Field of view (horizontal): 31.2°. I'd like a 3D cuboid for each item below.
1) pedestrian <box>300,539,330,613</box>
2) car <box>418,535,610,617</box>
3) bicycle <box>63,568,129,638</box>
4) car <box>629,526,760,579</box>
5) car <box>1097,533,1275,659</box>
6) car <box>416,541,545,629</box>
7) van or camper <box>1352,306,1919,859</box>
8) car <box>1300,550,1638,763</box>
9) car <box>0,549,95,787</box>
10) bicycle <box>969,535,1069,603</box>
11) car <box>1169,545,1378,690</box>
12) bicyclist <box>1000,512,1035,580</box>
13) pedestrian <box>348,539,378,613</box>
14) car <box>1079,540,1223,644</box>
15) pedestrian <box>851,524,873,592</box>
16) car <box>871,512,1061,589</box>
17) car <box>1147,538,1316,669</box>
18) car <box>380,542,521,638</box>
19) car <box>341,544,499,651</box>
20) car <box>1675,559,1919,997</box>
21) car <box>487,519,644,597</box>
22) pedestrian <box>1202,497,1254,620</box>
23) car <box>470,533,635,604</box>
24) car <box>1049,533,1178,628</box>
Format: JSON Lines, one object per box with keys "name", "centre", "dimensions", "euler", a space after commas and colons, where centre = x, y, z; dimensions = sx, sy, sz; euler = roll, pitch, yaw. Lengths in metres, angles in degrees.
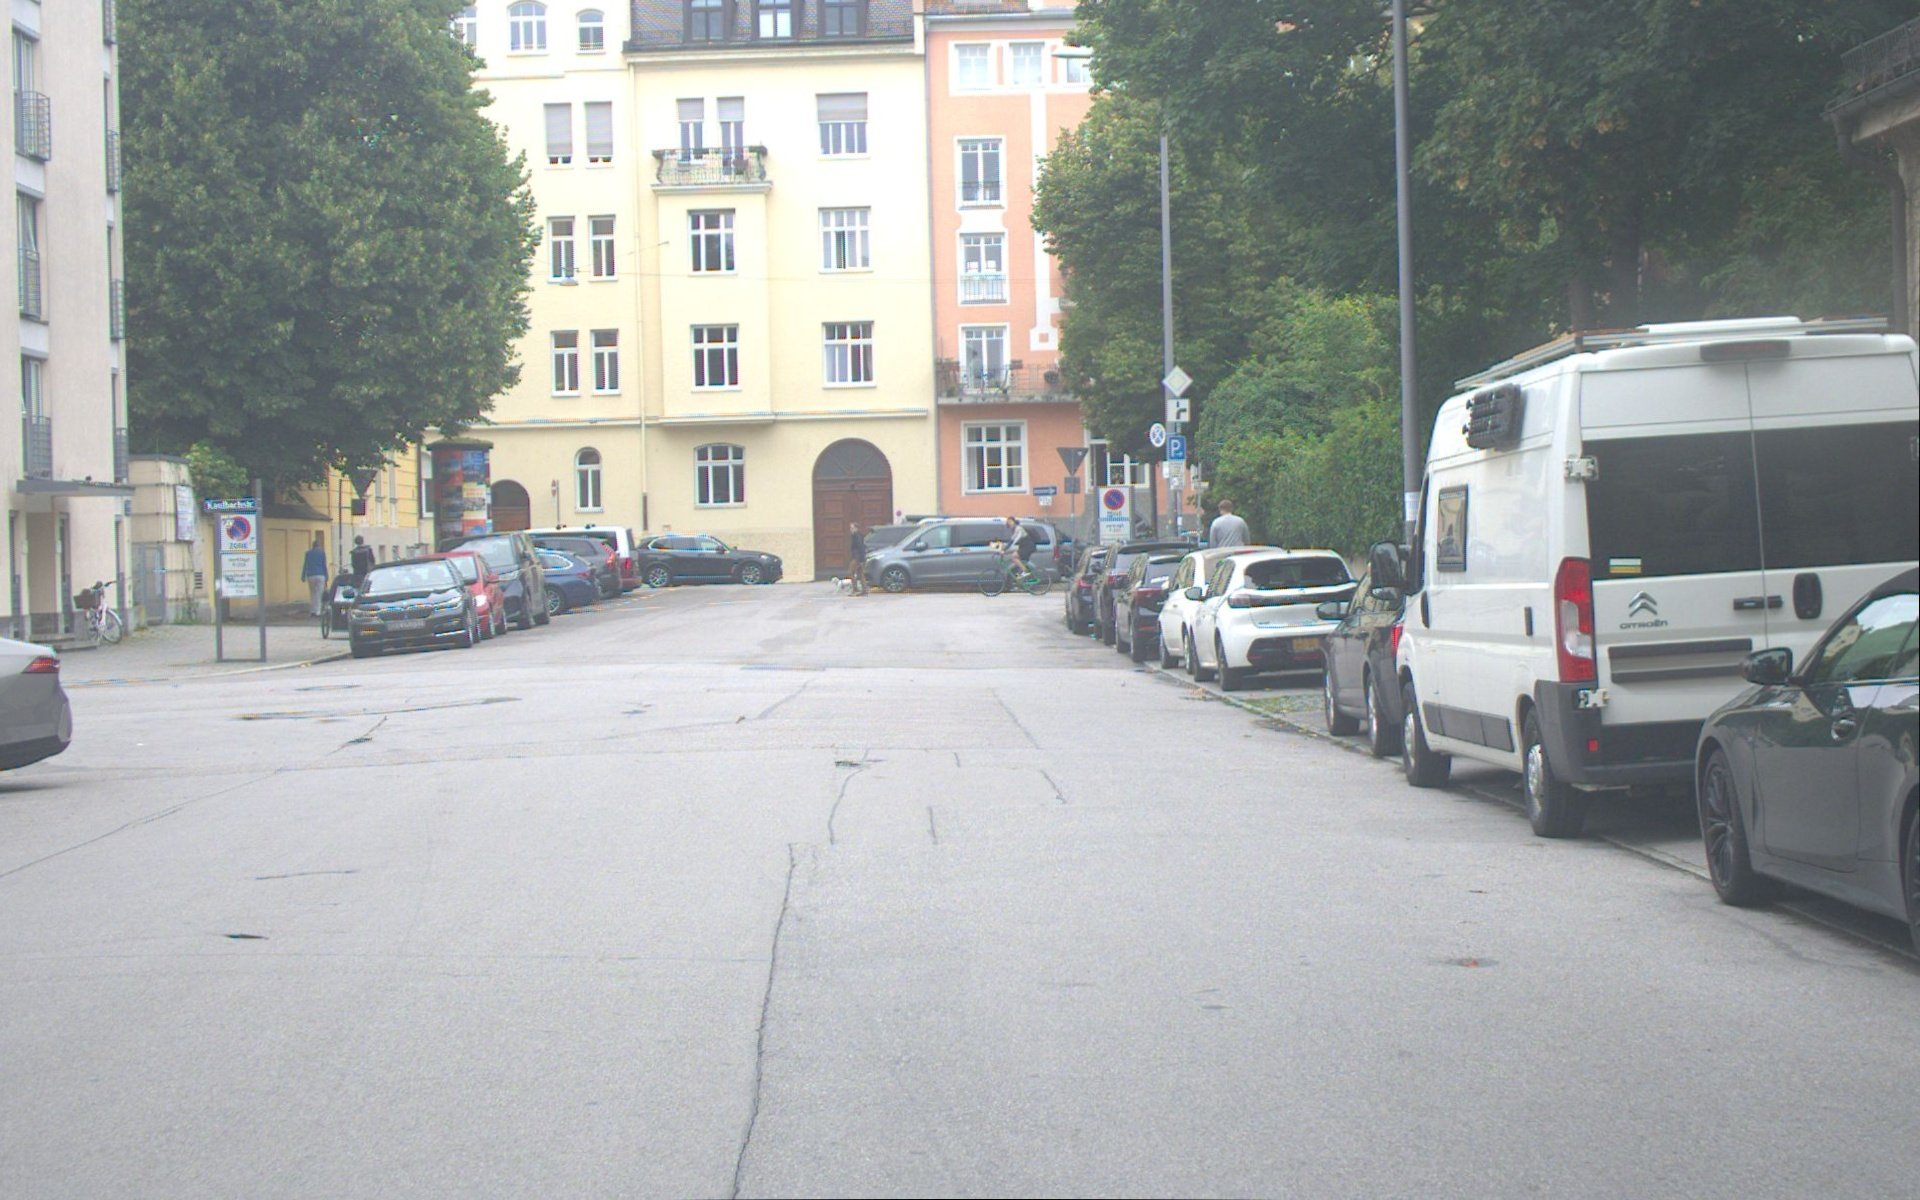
{"name": "pedestrian", "centre": [-14.566, -0.540, 77.628], "dimensions": [0.571, 1.651, 0.465], "euler": [-1, 1, 0]}
{"name": "car", "centre": [-9.994, -0.551, 77.238], "dimensions": [3.987, 1.503, 1.840], "euler": [-4, 1, -1]}
{"name": "bicycle", "centre": [-14.967, 0.042, 59.587], "dimensions": [0.637, 1.145, 2.425], "euler": [-1, 1, -3]}
{"name": "car", "centre": [-8.461, -1.512, 109.768], "dimensions": [3.987, 1.581, 1.703], "euler": [-1, 1, 0]}
{"name": "car", "centre": [3.034, -0.088, 46.847], "dimensions": [1.803, 1.461, 3.839], "euler": [-3, 3, -5]}
{"name": "car", "centre": [-9.160, -0.318, 65.955], "dimensions": [1.834, 1.503, 4.000], "euler": [-4, 1, -1]}
{"name": "van or camper", "centre": [3.761, -0.148, 19.251], "dimensions": [2.192, 2.541, 5.729], "euler": [-3, 1, -2]}
{"name": "car", "centre": [3.702, 0.359, 25.667], "dimensions": [1.707, 1.364, 4.131], "euler": [-3, 1, -2]}
{"name": "car", "centre": [-8.254, 0.564, 23.545], "dimensions": [4.106, 1.604, 1.737], "euler": [-4, 1, -33]}
{"name": "bicycle", "centre": [1.322, -0.705, 77.598], "dimensions": [2.217, 1.505, 0.655], "euler": [-1, 1, -1]}
{"name": "car", "centre": [3.368, 0.149, 37.618], "dimensions": [1.707, 1.403, 4.131], "euler": [-3, 1, -2]}
{"name": "bicyclist", "centre": [1.291, -1.220, 77.583], "dimensions": [0.766, 1.505, 0.655], "euler": [-1, 1, -1]}
{"name": "pedestrian", "centre": [-13.447, -0.551, 77.475], "dimensions": [0.571, 1.651, 0.465], "euler": [-1, 1, 0]}
{"name": "car", "centre": [2.863, -0.151, 52.287], "dimensions": [1.670, 1.339, 3.838], "euler": [-3, 3, -4]}
{"name": "pedestrian", "centre": [-2.380, -1.029, 83.651], "dimensions": [0.463, 1.651, 0.573], "euler": [-1, 1, -6]}
{"name": "car", "centre": [0.131, -1.263, 87.353], "dimensions": [4.703, 1.874, 1.840], "euler": [-1, 1, -2]}
{"name": "car", "centre": [3.310, 0.006, 42.558], "dimensions": [1.707, 1.461, 3.838], "euler": [-3, 1, 0]}
{"name": "car", "centre": [-9.008, -0.205, 61.058], "dimensions": [1.834, 1.503, 4.000], "euler": [-4, 1, -1]}
{"name": "car", "centre": [-8.617, -0.069, 55.109], "dimensions": [1.834, 1.503, 4.000], "euler": [-4, 1, -1]}
{"name": "car", "centre": [3.955, 0.561, 12.399], "dimensions": [1.707, 1.364, 4.441], "euler": [-3, 1, -1]}
{"name": "car", "centre": [-10.773, -1.156, 93.976], "dimensions": [3.987, 1.793, 1.840], "euler": [-4, 1, -1]}
{"name": "pedestrian", "centre": [4.436, -0.695, 56.924], "dimensions": [0.773, 2.007, 0.563], "euler": [-1, 1, -1]}
{"name": "car", "centre": [-10.560, -0.824, 89.194], "dimensions": [3.987, 1.503, 1.840], "euler": [-4, 1, -1]}
{"name": "car", "centre": [2.516, -0.351, 57.202], "dimensions": [1.670, 1.339, 3.838], "euler": [-3, 3, -4]}
